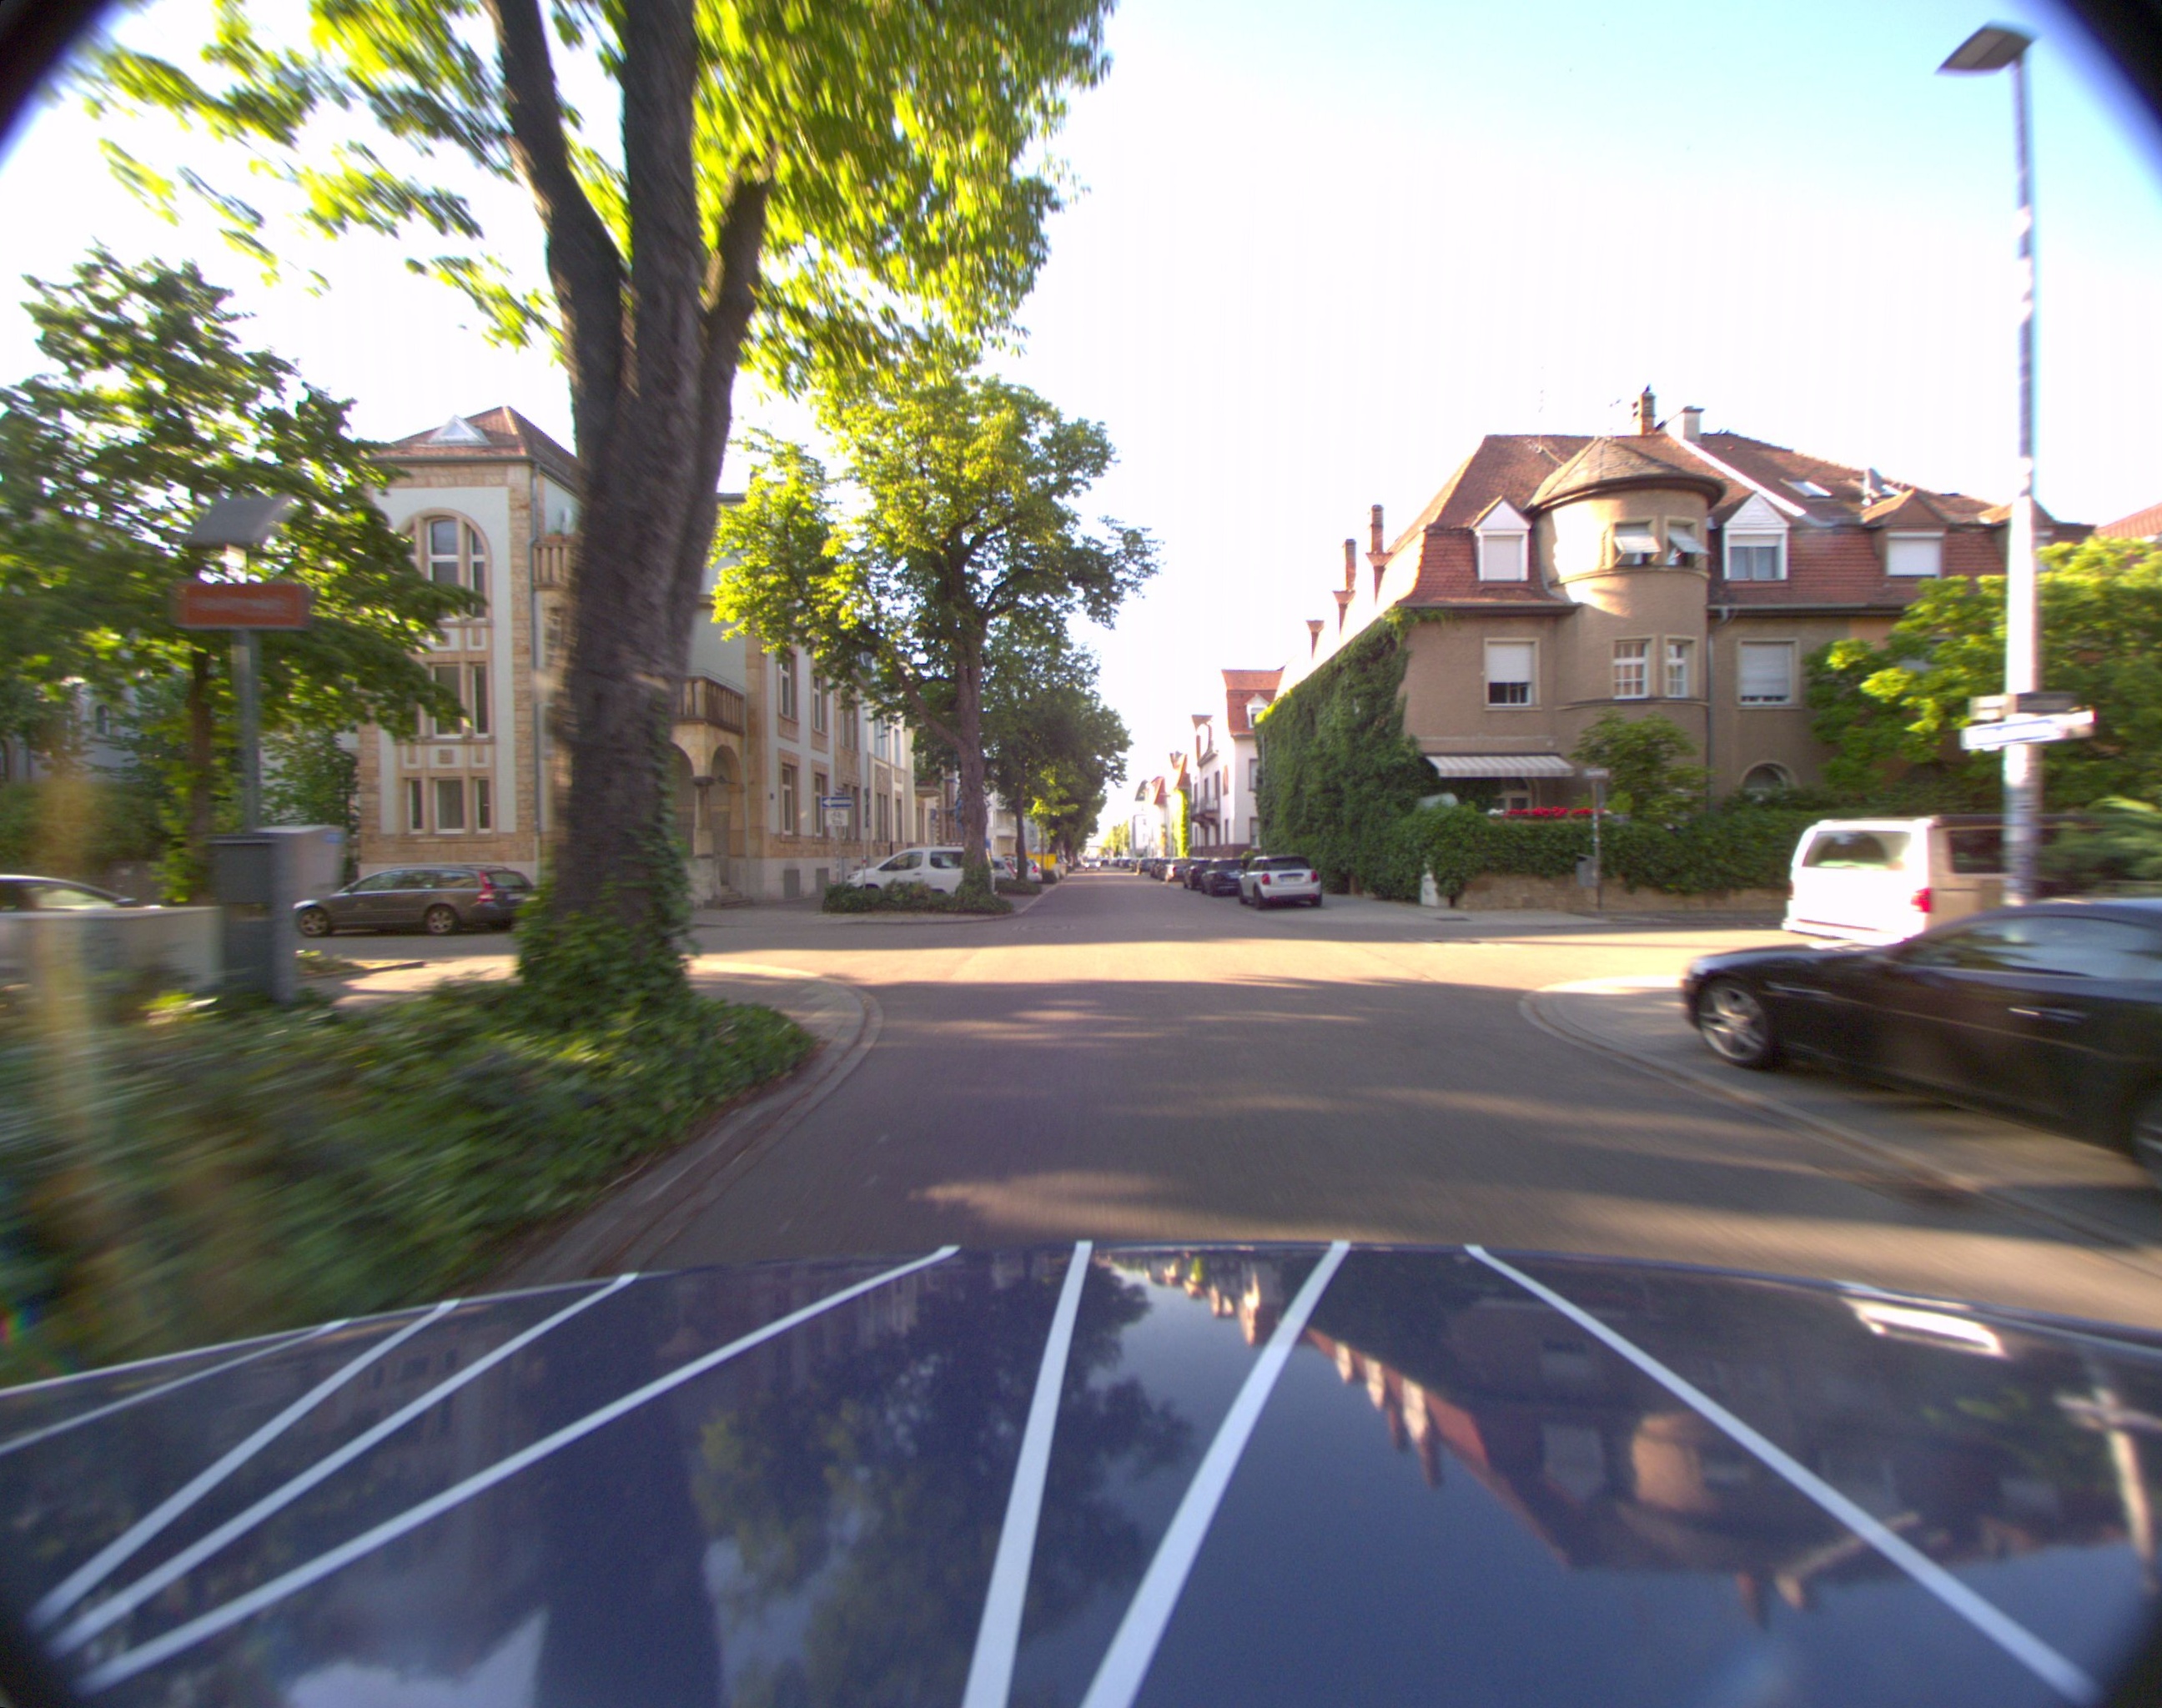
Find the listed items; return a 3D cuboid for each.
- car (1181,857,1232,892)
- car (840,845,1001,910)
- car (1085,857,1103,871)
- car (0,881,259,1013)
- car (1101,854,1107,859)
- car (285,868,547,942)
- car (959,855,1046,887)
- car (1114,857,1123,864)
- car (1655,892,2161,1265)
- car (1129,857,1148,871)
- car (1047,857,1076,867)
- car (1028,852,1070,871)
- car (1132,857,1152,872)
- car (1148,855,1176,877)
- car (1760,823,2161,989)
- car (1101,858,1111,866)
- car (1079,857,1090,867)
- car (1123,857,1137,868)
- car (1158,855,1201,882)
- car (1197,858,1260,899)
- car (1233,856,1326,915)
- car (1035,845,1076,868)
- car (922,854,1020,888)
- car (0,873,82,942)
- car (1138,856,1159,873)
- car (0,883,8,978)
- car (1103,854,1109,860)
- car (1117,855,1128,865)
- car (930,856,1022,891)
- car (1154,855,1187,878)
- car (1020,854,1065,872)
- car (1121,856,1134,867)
[{"bbox_3d":[5.572,0.883,34.245,1.653,1.412,4.099,-2,0,1],"label":"car"},{"bbox_3d":[-4.655,0.671,22.524,4.325,1.796,2.000,1,0,0],"label":"car"},{"bbox_3d":[1.636,1.188,93.144,2.098,1.700,4.607,-1,0,2],"label":"car"},{"bbox_3d":[-12.913,1.084,8.840,1.788,1.400,4.469,-1,-1,1],"label":"car"},{"bbox_3d":[8.044,0.828,261.760,1.913,1.679,4.199,-2,0,1],"label":"car"},{"bbox_3d":[-14.160,1.073,16.333,4.167,1.467,1.656,-1,-1,0],"label":"car"},{"bbox_3d":[-3.943,0.831,38.523,4.153,1.526,1.687,1,0,3],"label":"car"},{"bbox_3d":[7.626,1.328,156.096,1.723,1.386,3.908,-2,0,2],"label":"car"},{"bbox_3d":[5.317,1.003,4.006,1.657,1.316,4.046,-2,0,3],"label":"car"},{"bbox_3d":[6.401,1.079,84.797,1.714,1.461,4.633,-2,0,-1],"label":"car"},{"bbox_3d":[-2.933,1.158,113.030,4.313,1.532,1.758,0,0,-2],"label":"car"},{"bbox_3d":[-3.438,0.790,82.705,4.481,2.002,1.896,-1,0,-1],"label":"car"},{"bbox_3d":[6.371,1.095,79.511,1.658,1.407,4.167,-2,0,0],"label":"car"},{"bbox_3d":[5.876,0.854,55.606,1.657,1.477,3.764,-2,0,1],"label":"car"},{"bbox_3d":[12.379,0.601,10.383,4.412,2.003,1.999,-1,3,-2],"label":"car"},{"bbox_3d":[4.738,1.568,146.306,1.776,1.440,4.000,0,0,1],"label":"car"},{"bbox_3d":[0.567,1.446,142.755,1.998,1.873,4.000,-1,0,0],"label":"car"},{"bbox_3d":[6.648,1.172,103.254,1.657,1.445,4.631,-2,0,1],"label":"car"},{"bbox_3d":[5.773,0.835,45.132,1.797,1.453,4.777,-2,0,-2],"label":"car"},{"bbox_3d":[5.471,0.884,28.586,1.690,1.371,3.721,-2,0,1],"label":"car"},{"bbox_3d":[5.525,0.815,21.633,1.708,1.452,3.918,-2,0,2],"label":"car"},{"bbox_3d":[-3.185,0.283,96.009,5.109,2.885,2.076,0,0,-2],"label":"car"},{"bbox_3d":[-5.116,0.782,35.819,4.325,1.526,1.828,1,0,0],"label":"car"},{"bbox_3d":[-25.333,1.185,16.801,4.167,1.467,1.757,-1,-1,0],"label":"car"},{"bbox_3d":[6.142,0.909,69.471,1.657,1.438,4.005,-2,0,1],"label":"car"},{"bbox_3d":[-16.982,1.125,9.084,1.848,1.400,4.530,-1,-1,1],"label":"car"},{"bbox_3d":[7.540,0.973,230.400,1.913,1.679,4.199,-2,0,1],"label":"car"},{"bbox_3d":[6.978,0.986,127.555,1.654,1.474,3.429,-2,0,2],"label":"car"},{"bbox_3d":[-4.592,0.841,33.564,3.757,1.454,1.734,1,0,0],"label":"car"},{"bbox_3d":[5.951,0.802,50.862,1.658,1.438,3.843,-2,0,-1],"label":"car"},{"bbox_3d":[-3.760,0.905,74.795,4.343,1.673,1.705,1,0,-2],"label":"car"},{"bbox_3d":[6.905,1.086,113.175,1.585,1.511,3.706,-2,0,-1],"label":"car"}]
